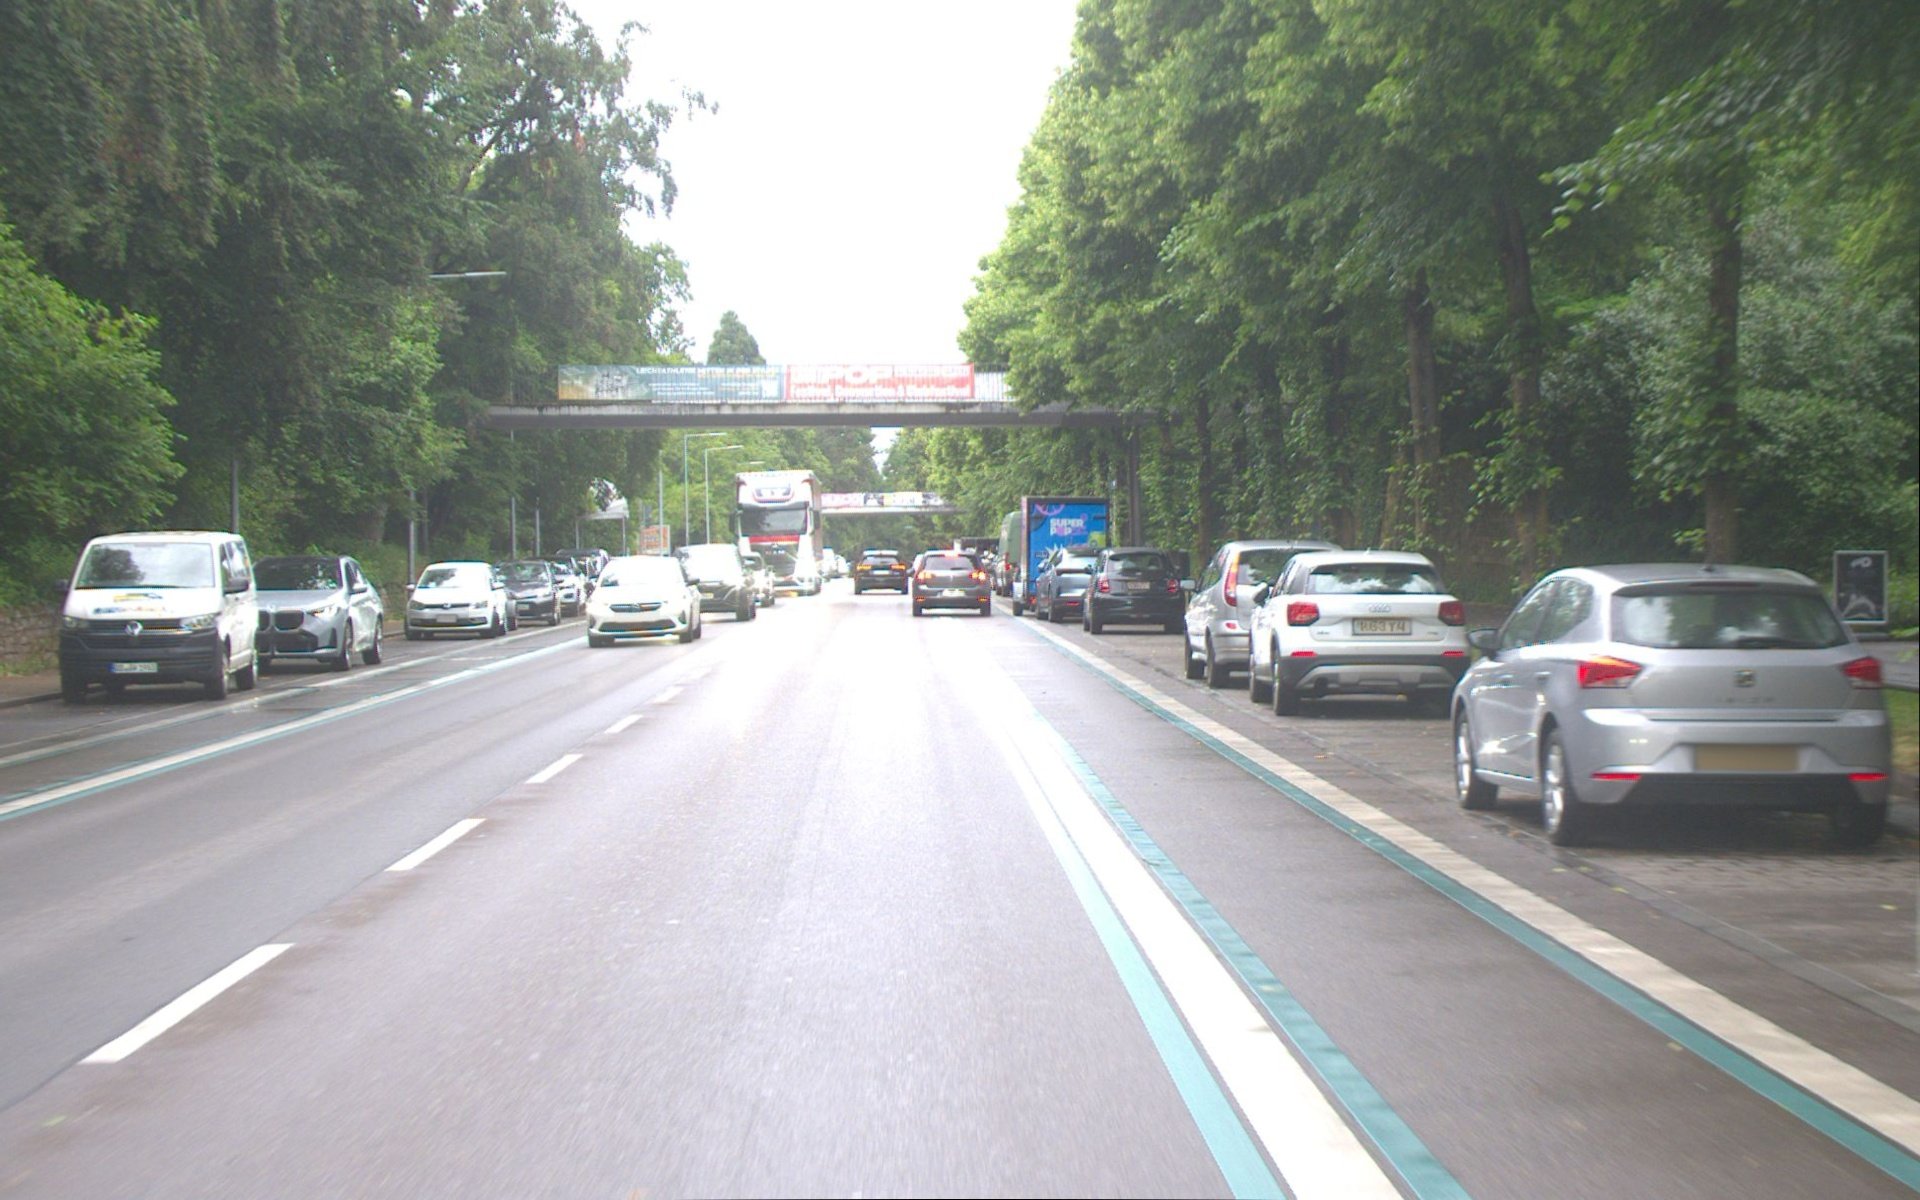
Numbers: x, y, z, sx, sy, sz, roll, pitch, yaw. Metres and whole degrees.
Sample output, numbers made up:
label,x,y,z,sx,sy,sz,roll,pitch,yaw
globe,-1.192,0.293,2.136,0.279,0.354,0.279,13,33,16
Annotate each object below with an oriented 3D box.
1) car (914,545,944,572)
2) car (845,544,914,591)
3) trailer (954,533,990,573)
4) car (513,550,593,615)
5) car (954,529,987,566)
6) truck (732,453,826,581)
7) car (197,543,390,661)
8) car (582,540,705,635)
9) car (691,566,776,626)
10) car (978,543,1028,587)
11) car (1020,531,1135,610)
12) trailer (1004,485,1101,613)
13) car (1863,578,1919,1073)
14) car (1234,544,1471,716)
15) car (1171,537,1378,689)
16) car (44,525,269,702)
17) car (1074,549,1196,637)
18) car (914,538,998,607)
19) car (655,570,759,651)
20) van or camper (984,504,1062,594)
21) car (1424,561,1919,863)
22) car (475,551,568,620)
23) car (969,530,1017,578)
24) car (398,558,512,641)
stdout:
label,x,y,z,sx,sy,sz,roll,pitch,yaw
car,-1.897,-2.484,207.845,1.731,1.578,4.037,-1,1,-1
car,-2.679,-1.098,114.028,2.140,1.487,4.499,1,1,-3
trailer,0.649,-2.583,190.399,1.884,2.158,3.808,-1,1,-1
car,-10.451,-0.473,88.475,1.687,1.541,4.233,-1,1,-2
car,0.627,-3.162,207.245,1.889,2.120,4.045,-1,1,0
truck,-5.952,-2.724,113.697,2.518,4.032,4.916,-3,1,1
car,-9.682,-0.007,50.302,2.010,1.600,4.780,-1,1,-2
car,-5.283,-0.232,57.753,1.775,1.461,4.063,-3,1,-2
car,-5.993,-0.128,91.544,1.915,1.451,4.621,-3,1,0
car,1.592,-1.322,128.637,1.756,1.584,4.499,1,1,-1
car,2.386,-0.632,70.759,1.899,1.542,4.756,1,1,-4
trailer,2.035,-1.138,76.530,1.952,2.749,4.007,0,1,-1
car,3.735,0.698,8.685,1.698,1.448,3.947,1,1,-3
car,3.669,0.232,32.815,1.698,1.508,4.469,1,1,-1
car,3.458,0.092,38.536,1.753,1.591,4.740,0,1,-2
car,-9.595,0.095,41.399,1.973,1.998,5.019,0,1,-5
car,3.114,-0.162,61.831,1.825,1.498,4.571,-1,1,-2
car,-0.094,-0.639,76.914,1.818,1.503,4.139,0,1,0
car,-5.411,0.193,73.925,1.961,1.611,4.466,-1,1,-1
van or camper,1.939,-1.595,107.523,2.042,2.720,6.901,1,1,-2
car,3.780,0.529,18.963,1.698,1.448,4.098,1,1,-3
car,-9.863,-0.357,77.594,1.831,1.472,4.041,-1,1,-4
car,1.391,-1.969,147.052,1.926,2.015,4.664,1,1,-1
car,-9.805,-0.040,66.960,1.789,1.477,3.983,-1,1,-3
